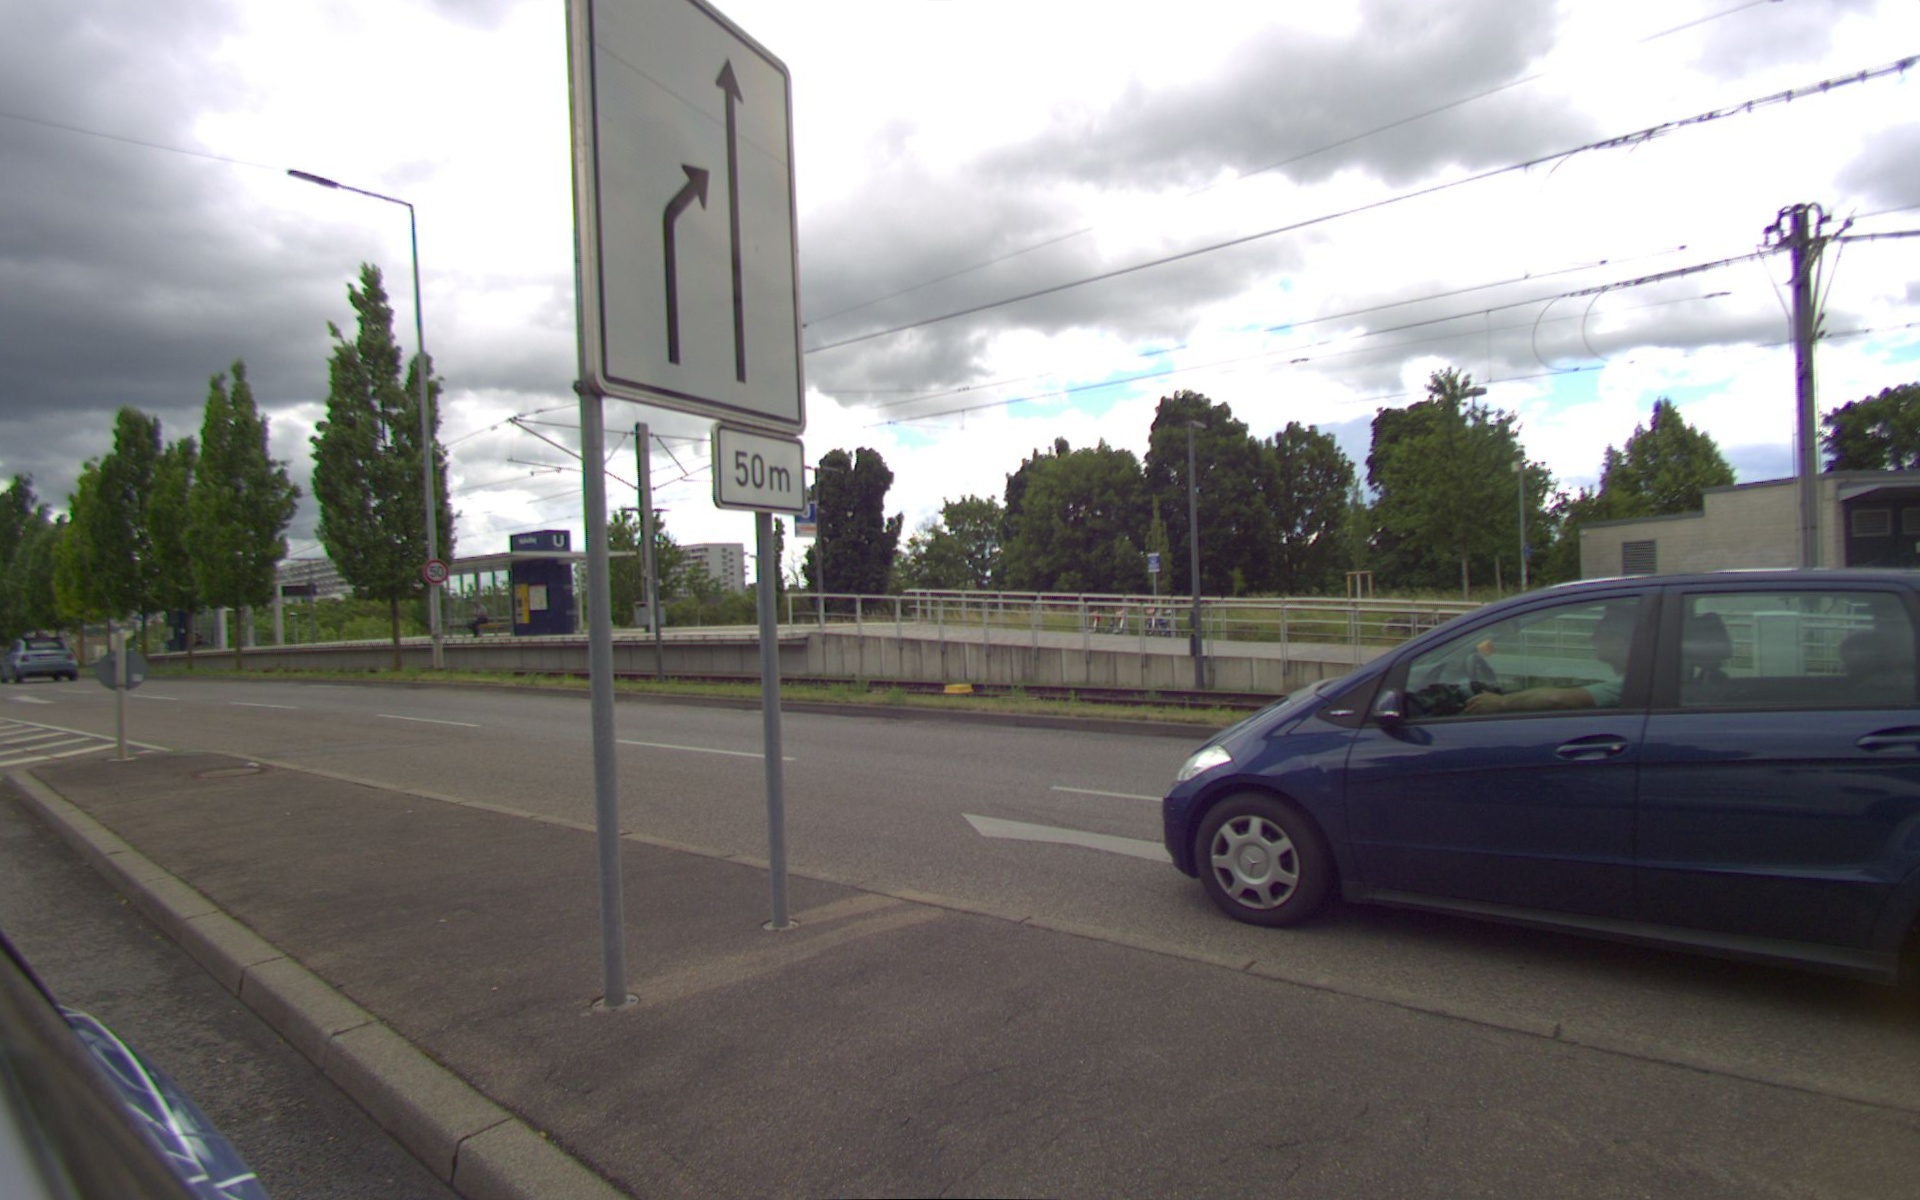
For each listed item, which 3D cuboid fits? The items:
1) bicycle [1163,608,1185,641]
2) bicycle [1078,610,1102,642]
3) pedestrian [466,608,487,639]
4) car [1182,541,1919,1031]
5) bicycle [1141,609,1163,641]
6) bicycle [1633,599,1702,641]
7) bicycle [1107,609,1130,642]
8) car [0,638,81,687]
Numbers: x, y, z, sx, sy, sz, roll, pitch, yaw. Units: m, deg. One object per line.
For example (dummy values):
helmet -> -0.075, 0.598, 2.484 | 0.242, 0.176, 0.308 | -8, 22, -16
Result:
bicycle -> 7.124, 0.803, 33.654 | 0.531, 1.039, 1.804 | -1, 0, 16
bicycle -> 4.487, 0.886, 34.848 | 0.531, 1.039, 1.804 | -1, 0, 16
pedestrian -> -18.130, 0.873, 37.968 | 0.447, 1.163, 0.593 | -1, 0, 41
car -> 3.001, 0.586, 4.234 | 3.656, 1.520, 1.718 | -2, -1, 40
bicycle -> 6.453, 0.826, 33.986 | 0.531, 1.039, 1.804 | -1, 0, 16
bicycle -> 18.206, 0.507, 26.098 | 0.529, 1.039, 1.813 | -1, 0, 1
bicycle -> 5.397, 0.856, 34.439 | 0.531, 1.039, 1.804 | -1, 0, 16
car -> -32.288, 2.139, 35.352 | 3.596, 1.540, 1.740 | -1, 0, 38
